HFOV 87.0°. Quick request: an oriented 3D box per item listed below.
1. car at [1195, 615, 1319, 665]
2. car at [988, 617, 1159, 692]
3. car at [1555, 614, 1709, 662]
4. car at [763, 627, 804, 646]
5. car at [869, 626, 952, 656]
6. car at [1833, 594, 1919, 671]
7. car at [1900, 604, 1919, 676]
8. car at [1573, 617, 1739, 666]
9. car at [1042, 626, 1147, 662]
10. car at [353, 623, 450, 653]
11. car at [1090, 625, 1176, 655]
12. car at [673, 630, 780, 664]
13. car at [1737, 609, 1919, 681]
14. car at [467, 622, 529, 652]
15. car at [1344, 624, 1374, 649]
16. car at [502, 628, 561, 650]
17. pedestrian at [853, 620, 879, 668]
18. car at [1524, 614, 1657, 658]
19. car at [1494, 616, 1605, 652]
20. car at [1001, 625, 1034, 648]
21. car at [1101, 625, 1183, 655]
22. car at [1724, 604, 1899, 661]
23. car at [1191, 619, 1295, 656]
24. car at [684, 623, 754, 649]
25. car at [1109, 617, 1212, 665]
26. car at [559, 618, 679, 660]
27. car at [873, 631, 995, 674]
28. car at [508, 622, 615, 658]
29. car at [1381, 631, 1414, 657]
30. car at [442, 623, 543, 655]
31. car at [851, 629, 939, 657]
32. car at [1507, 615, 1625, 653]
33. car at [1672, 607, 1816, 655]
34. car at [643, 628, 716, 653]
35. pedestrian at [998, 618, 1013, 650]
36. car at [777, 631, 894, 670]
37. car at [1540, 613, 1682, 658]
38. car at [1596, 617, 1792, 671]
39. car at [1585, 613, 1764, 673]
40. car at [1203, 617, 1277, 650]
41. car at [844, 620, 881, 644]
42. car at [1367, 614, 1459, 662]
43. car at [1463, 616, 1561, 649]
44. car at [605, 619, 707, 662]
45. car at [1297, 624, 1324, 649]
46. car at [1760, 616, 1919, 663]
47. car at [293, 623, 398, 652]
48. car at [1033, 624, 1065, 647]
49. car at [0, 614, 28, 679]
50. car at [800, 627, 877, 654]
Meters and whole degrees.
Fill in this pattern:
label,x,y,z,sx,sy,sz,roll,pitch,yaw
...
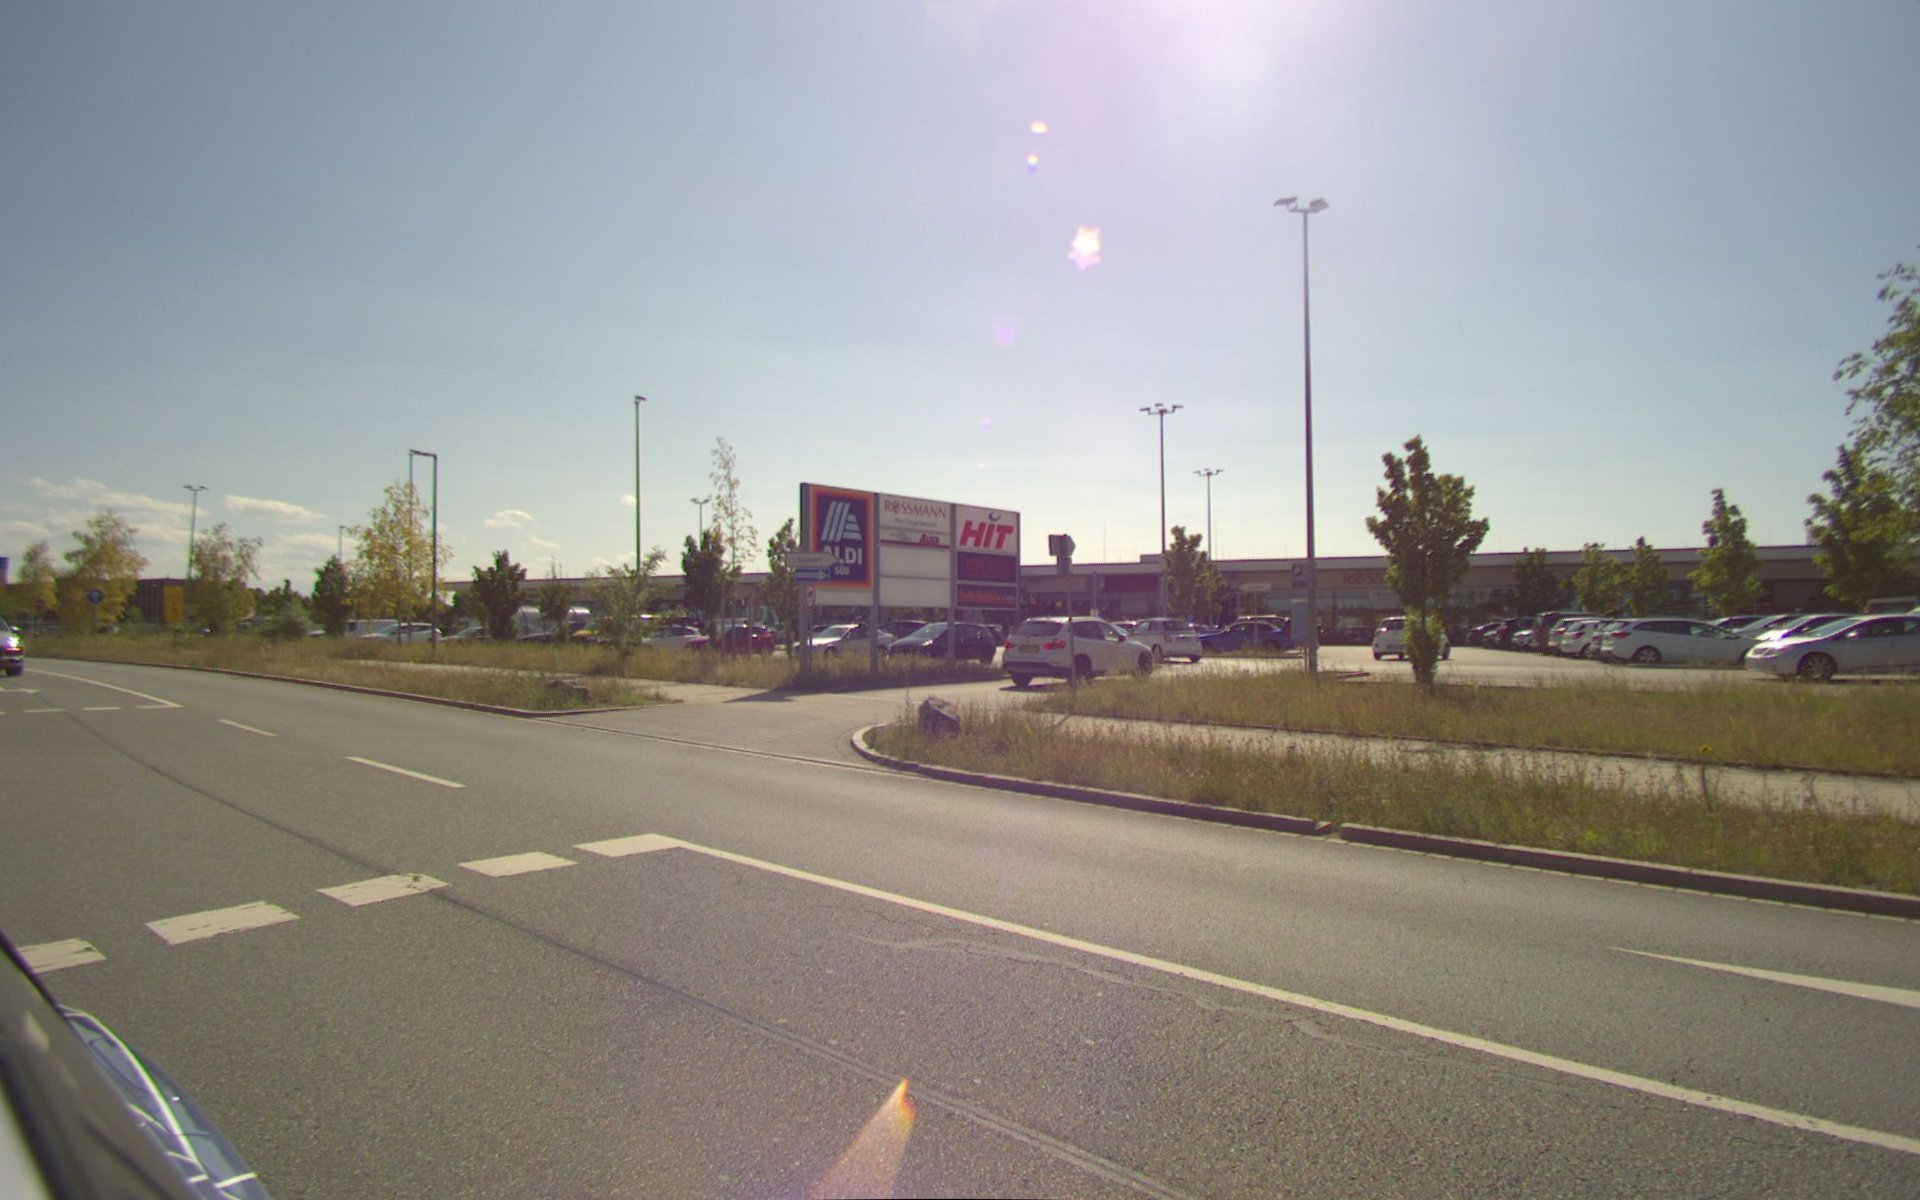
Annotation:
label,x,y,z,sx,sy,sz,roll,pitch,yaw
car,12.276,1.652,41.842,4.797,2.001,1.706,-1,-2,20
car,2.681,1.193,23.211,1.916,1.559,4.168,-1,-2,41
car,25.020,1.385,37.856,4.334,1.731,1.911,0,-2,11
car,-14.430,2.986,82.967,1.701,1.536,4.334,-1,-2,14
car,-2.725,2.255,55.840,4.321,1.561,1.706,-1,-2,20
car,27.362,0.901,28.071,4.350,2.080,1.825,0,-2,21
car,26.709,1.010,25.249,4.350,1.837,1.825,0,-2,21
car,24.012,1.420,35.109,4.350,1.630,1.904,0,-2,21
car,5.886,1.919,44.186,4.321,1.528,1.706,-1,-2,20
car,-32.453,2.191,58.909,1.993,1.685,4.554,-1,-2,32
car,9.306,2.140,54.372,4.321,1.556,1.706,-1,-2,20
car,-9.881,1.967,43.069,1.935,1.358,4.102,-2,-3,40
car,20.336,0.988,22.424,4.591,1.523,1.824,-1,-2,23
car,-42.738,3.422,93.711,1.924,2.607,5.685,-1,-2,17
car,26.856,2.462,68.152,1.704,1.646,4.325,-1,-2,20
car,-32.095,2.918,75.956,1.831,1.564,3.972,-1,-2,21
pedestrian,-3.418,1.599,36.922,0.578,1.708,0.757,-1,-2,41
car,26.441,1.492,42.607,4.343,1.807,1.907,0,-2,17
car,29.053,1.654,50.003,4.343,1.731,1.907,0,-2,17
car,4.394,2.781,76.950,1.701,1.638,4.334,-1,-2,14
car,10.269,2.249,57.048,4.321,1.628,1.706,-1,-2,20
car,31.800,1.189,37.960,4.600,2.040,1.825,0,-2,21
car,12.505,1.654,44.637,4.321,1.593,1.706,-1,-2,20
car,-16.643,2.465,69.869,4.553,1.754,1.704,-1,-2,23
car,6.879,1.407,35.156,1.885,1.559,4.011,1,-2,-16
car,-16.847,1.927,50.282,1.994,1.980,5.636,-1,-2,33
car,-0.824,1.747,34.134,1.935,1.358,4.102,-2,-3,40
car,-19.706,1.988,50.256,1.877,1.685,4.728,-1,-3,34
car,28.985,2.904,67.174,1.704,1.646,4.325,-1,-2,20
car,-25.502,2.124,55.330,1.994,1.685,4.663,-1,-2,33
car,-3.437,2.261,53.522,4.321,1.428,1.706,-1,-2,20
car,28.355,1.595,47.497,4.343,1.738,1.907,0,-2,17
car,34.387,1.337,44.547,4.600,2.040,1.825,0,-2,21
car,-17.858,2.569,64.415,4.319,1.538,1.707,-1,-2,18
pedestrian,2.731,2.024,60.260,0.776,1.838,0.566,-1,-2,21
car,-4.564,1.828,37.444,1.935,1.358,4.102,-2,-3,40
car,25.896,1.387,40.445,4.341,1.739,1.908,0,-2,15
car,21.737,1.288,30.182,4.350,1.523,1.825,0,-2,21
car,22.960,1.358,32.732,4.350,1.817,1.904,0,-2,21
car,17.472,2.100,63.190,4.321,1.974,1.706,-1,-2,20
car,-7.884,2.612,82.297,1.701,1.821,4.334,-1,-2,14
car,15.784,1.288,35.161,1.916,1.559,3.947,-1,-2,40
car,30.150,1.753,55.421,4.343,1.774,1.907,0,-2,17
car,-13.769,1.834,46.008,1.930,1.875,4.104,-2,-3,38
car,23.972,2.489,69.168,1.704,1.646,4.325,-1,-2,20
car,30.974,1.354,35.357,4.350,1.594,1.825,0,-2,21
car,-37.121,2.272,61.282,1.990,1.685,5.150,-1,-2,26
car,6.734,2.675,75.924,1.701,1.646,4.334,-1,-2,14
car,-26.357,1.271,26.591,4.771,1.656,2.088,-3,-3,39
car,-7.306,2.428,60.886,4.325,1.538,1.704,-1,-2,22
